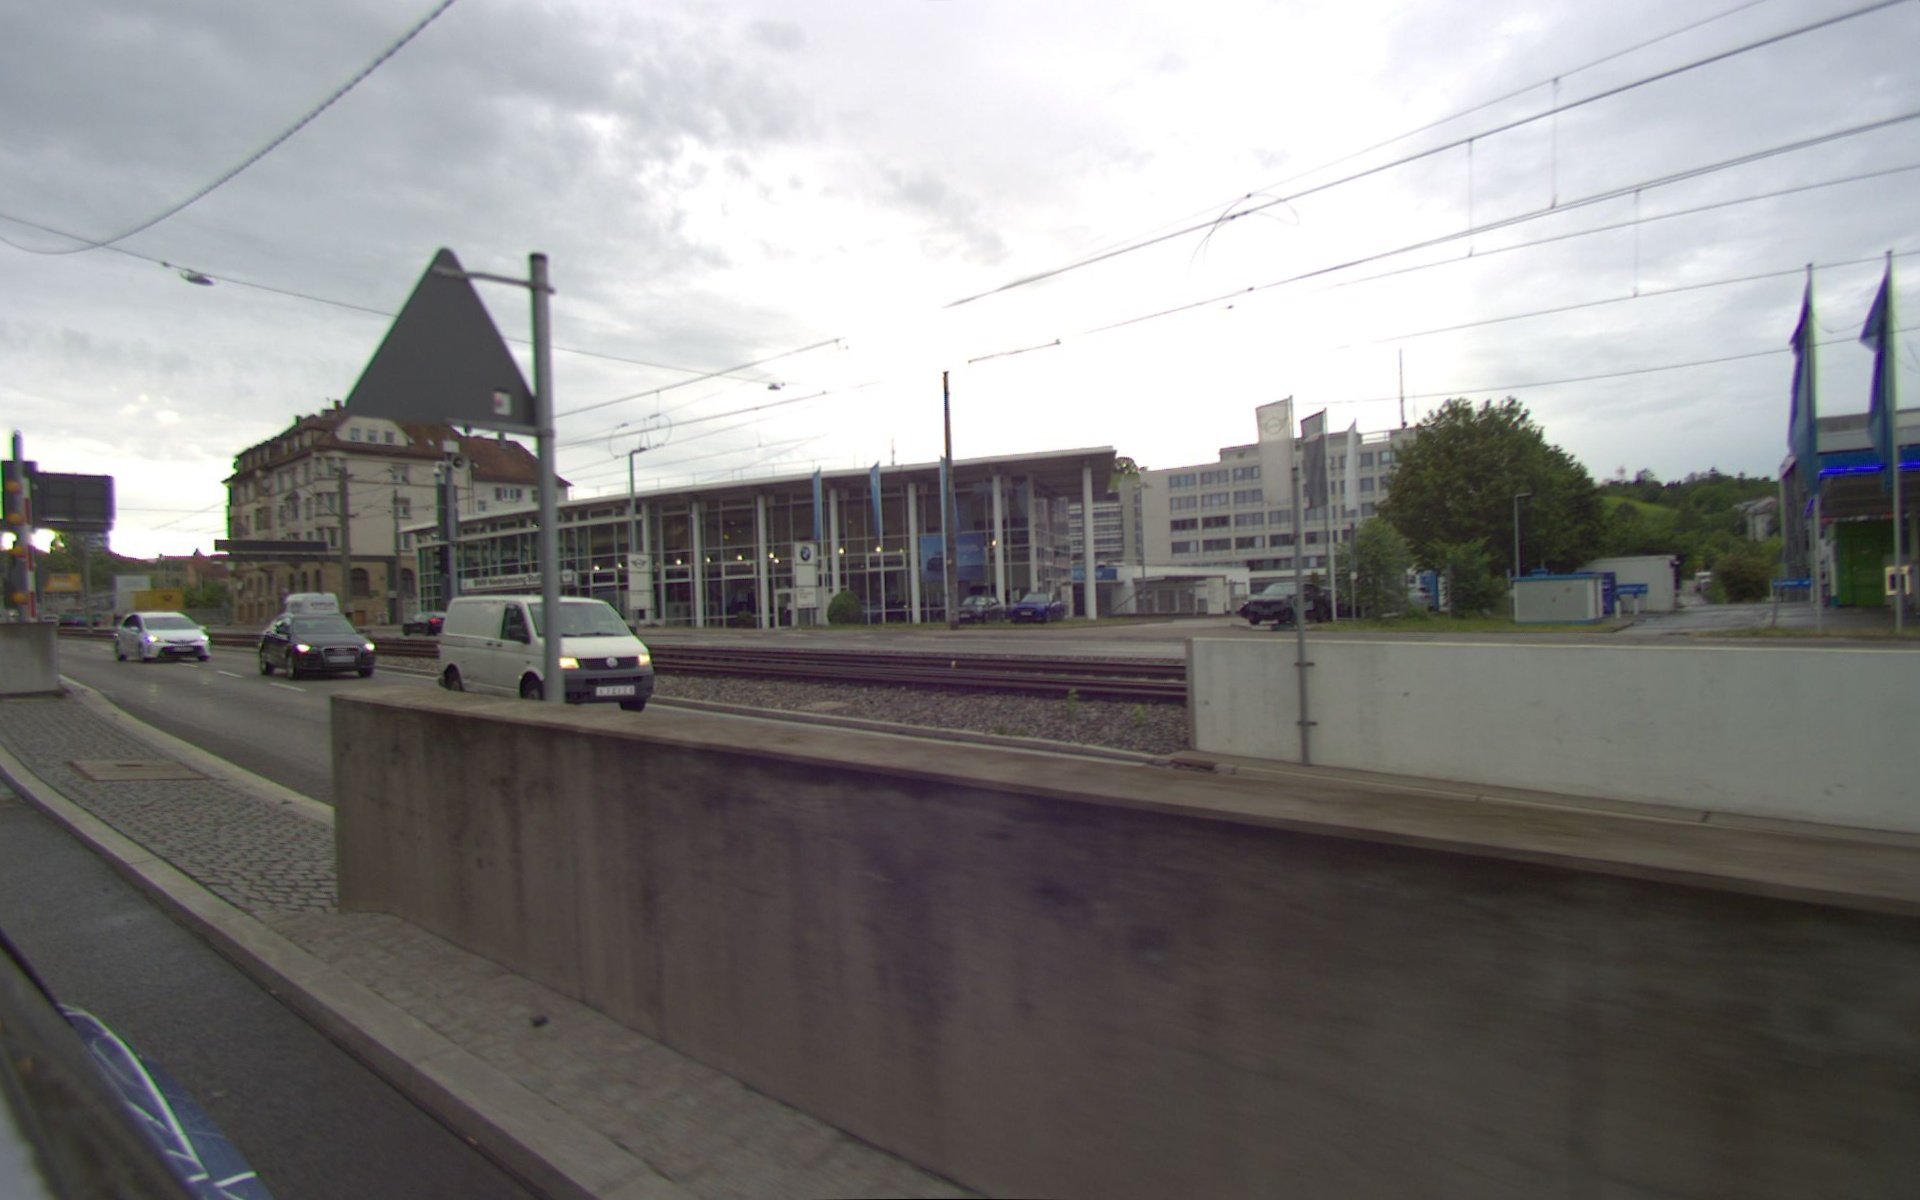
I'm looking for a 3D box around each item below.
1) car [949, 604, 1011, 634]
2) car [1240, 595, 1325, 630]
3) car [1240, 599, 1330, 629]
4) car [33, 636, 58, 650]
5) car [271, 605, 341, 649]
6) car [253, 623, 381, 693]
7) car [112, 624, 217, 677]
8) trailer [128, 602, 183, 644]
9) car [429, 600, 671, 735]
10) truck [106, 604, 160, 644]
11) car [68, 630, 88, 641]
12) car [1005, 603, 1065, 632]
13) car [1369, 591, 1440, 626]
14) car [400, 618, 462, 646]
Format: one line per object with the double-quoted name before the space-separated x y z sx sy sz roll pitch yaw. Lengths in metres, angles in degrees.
"car" 1.006 0.877 47.986 1.690 1.244 3.974 -4 -1 20
"car" 12.488 0.472 39.084 1.717 1.284 3.476 -2 0 44
"car" 14.211 0.623 44.312 3.425 1.253 1.571 -1 0 37
"car" -129.094 6.013 142.895 5.189 1.888 1.973 -2 -1 40
"car" -41.403 1.729 64.007 6.160 2.618 2.030 -2 -1 40
"car" -16.193 1.411 25.412 3.894 1.585 1.686 -2 -2 41
"car" -26.136 1.621 33.210 4.316 1.585 1.956 -2 -2 41
"trailer" -81.306 2.381 102.217 9.076 4.082 2.656 -2 -1 40
"car" -7.054 1.053 17.154 4.716 1.973 1.889 -2 -1 41
"truck" -88.591 2.596 108.358 10.135 4.082 2.656 -2 -1 40
"car" -122.907 4.979 141.024 4.329 1.444 1.589 -2 -1 41
"car" 3.502 0.785 46.531 1.747 1.244 3.974 -1 0 20
"car" 21.135 0.390 48.168 2.798 1.585 1.368 -2 -1 39
"car" -30.872 1.858 59.024 4.337 1.527 1.724 -2 -1 41
